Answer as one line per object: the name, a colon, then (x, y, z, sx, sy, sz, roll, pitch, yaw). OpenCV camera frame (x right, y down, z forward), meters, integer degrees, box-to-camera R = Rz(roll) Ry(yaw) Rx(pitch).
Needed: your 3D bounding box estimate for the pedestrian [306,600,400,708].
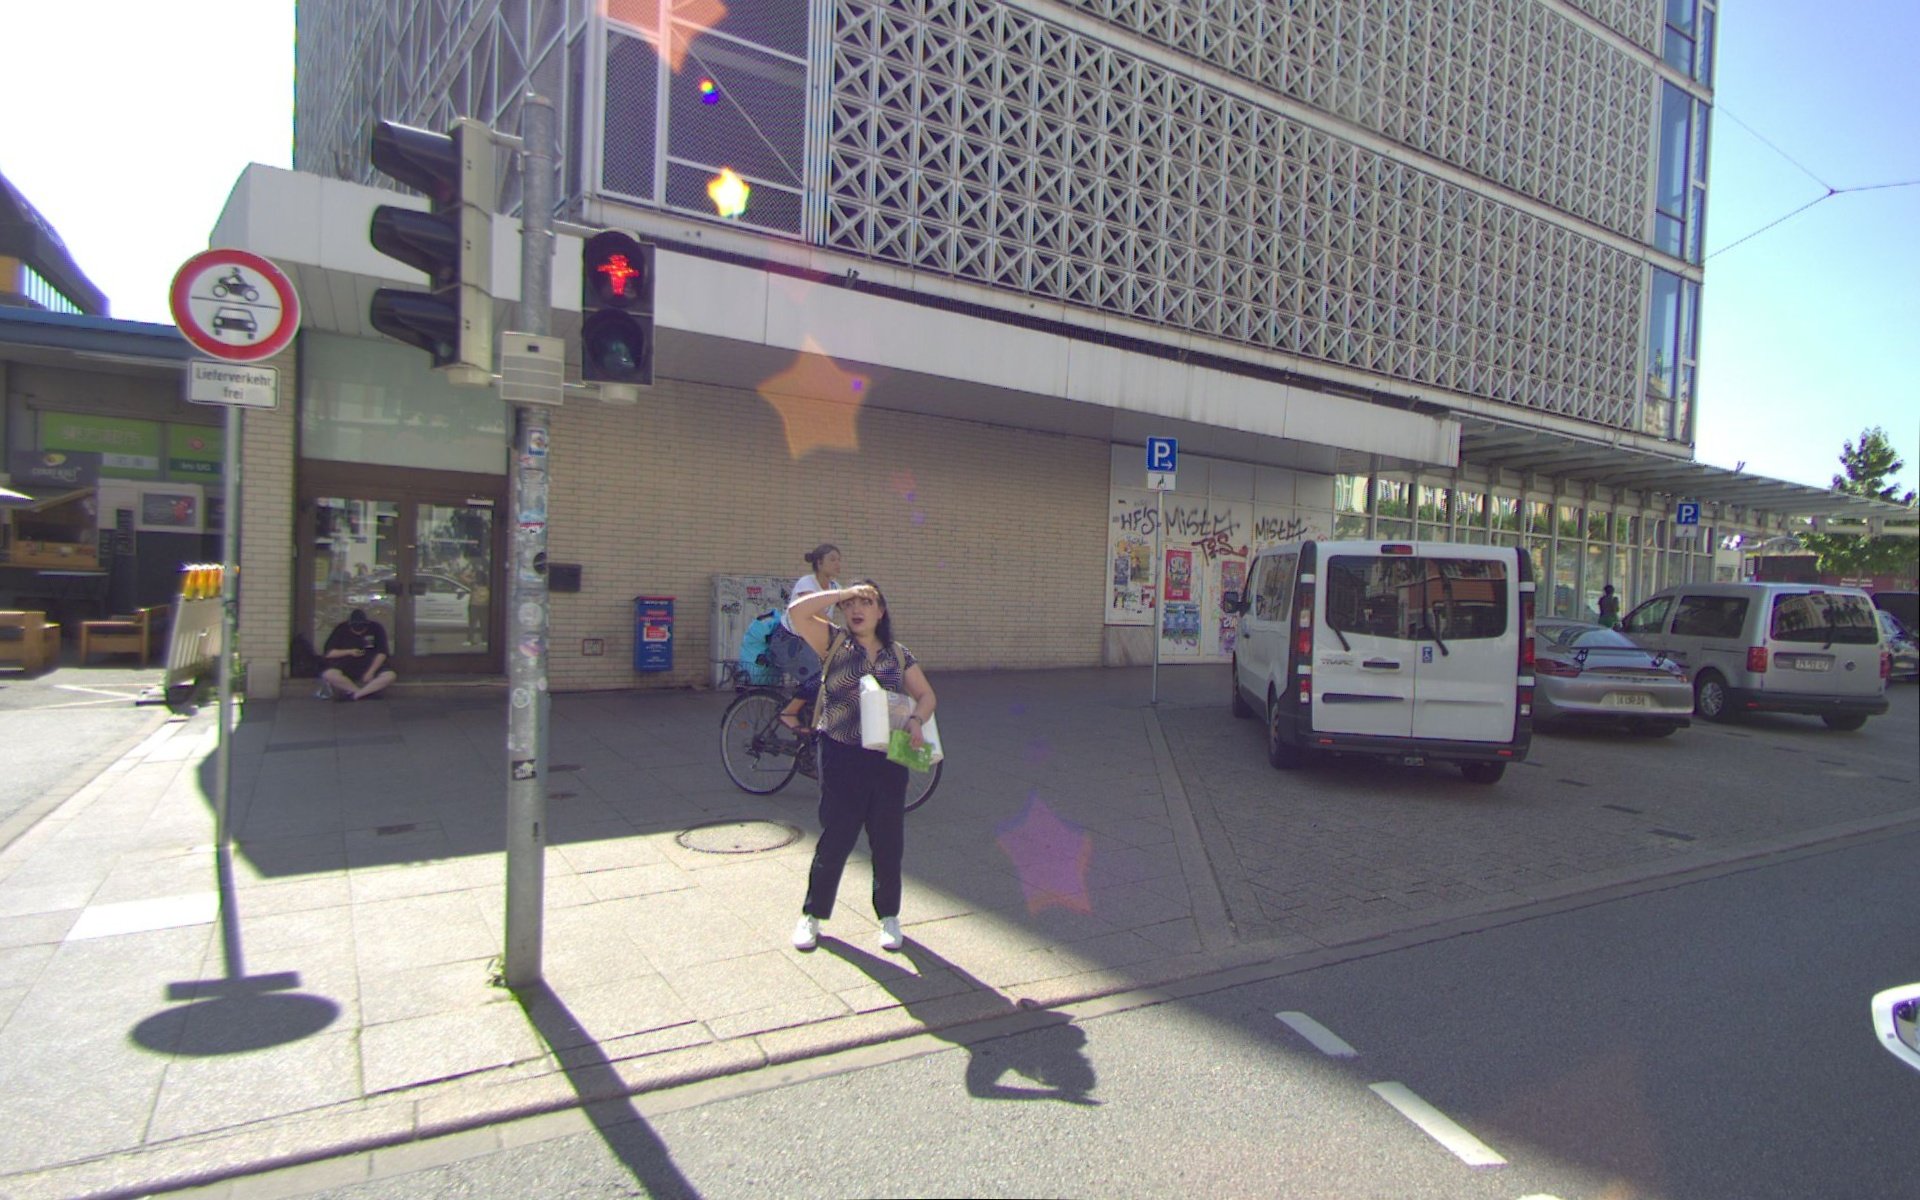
pedestrian: (-6.614, 0.576, 10.964, 0.832, 1.071, 0.717, 2, 5, -32)

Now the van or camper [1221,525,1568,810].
van or camper: (3.833, 0.414, 9.854, 1.959, 2.041, 4.662, 3, 2, 9)

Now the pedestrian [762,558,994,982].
pedestrian: (-0.349, 0.633, 4.217, 0.676, 1.580, 0.633, 0, 3, -42)

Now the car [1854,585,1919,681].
car: (22.694, 0.776, 23.057, 4.630, 2.041, 1.823, 2, 1, -30)

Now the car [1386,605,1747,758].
car: (7.218, 0.861, 12.598, 1.932, 1.304, 4.298, 3, 2, 1)

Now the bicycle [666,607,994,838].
bicycle: (-0.917, 0.737, 6.804, 2.171, 1.284, 0.735, 2, 2, 29)

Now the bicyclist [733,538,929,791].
bicyclist: (-0.869, 0.383, 6.776, 1.057, 1.560, 0.735, 2, 2, 29)

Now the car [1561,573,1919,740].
car: (10.672, 0.632, 14.237, 1.969, 1.935, 4.448, 2, 1, 7)

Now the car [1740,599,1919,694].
car: (17.843, 0.904, 20.341, 4.356, 1.632, 1.980, 2, 2, -35)

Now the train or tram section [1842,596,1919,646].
train or tram section: (77.602, 1.802, 80.466, 10.780, 3.726, 2.622, 3, 1, 5)
